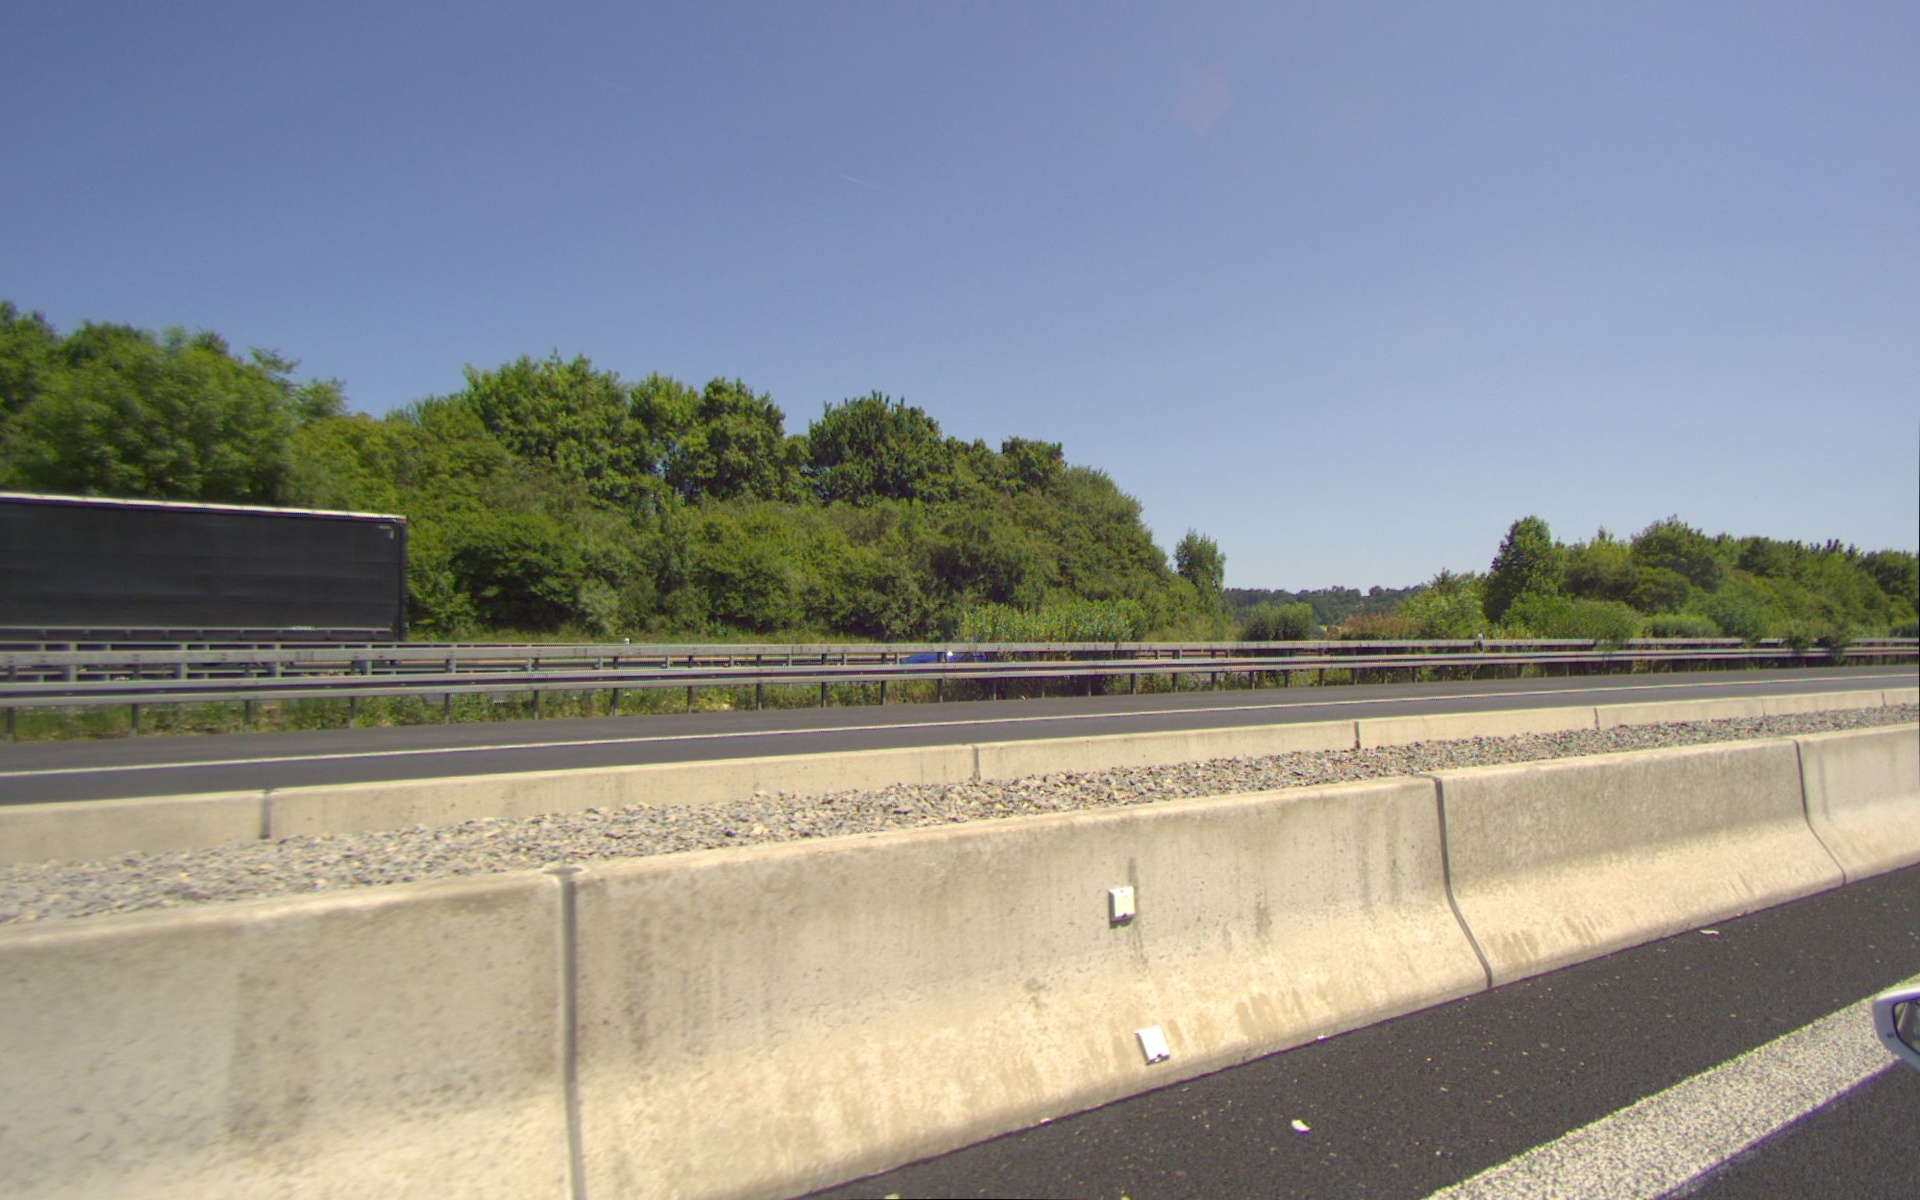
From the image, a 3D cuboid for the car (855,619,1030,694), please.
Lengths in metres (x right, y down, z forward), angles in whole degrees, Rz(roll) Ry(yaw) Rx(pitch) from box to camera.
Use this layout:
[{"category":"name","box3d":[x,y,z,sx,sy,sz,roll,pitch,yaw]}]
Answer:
[{"category":"car","box3d":[-0.453,1.492,27.212,4.378,1.882,1.984,1,-2,-31]}]

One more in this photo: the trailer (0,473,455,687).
[{"category":"trailer","box3d":[-18.260,-0.348,21.187,13.380,4.099,3.204,2,-1,-31]}]
